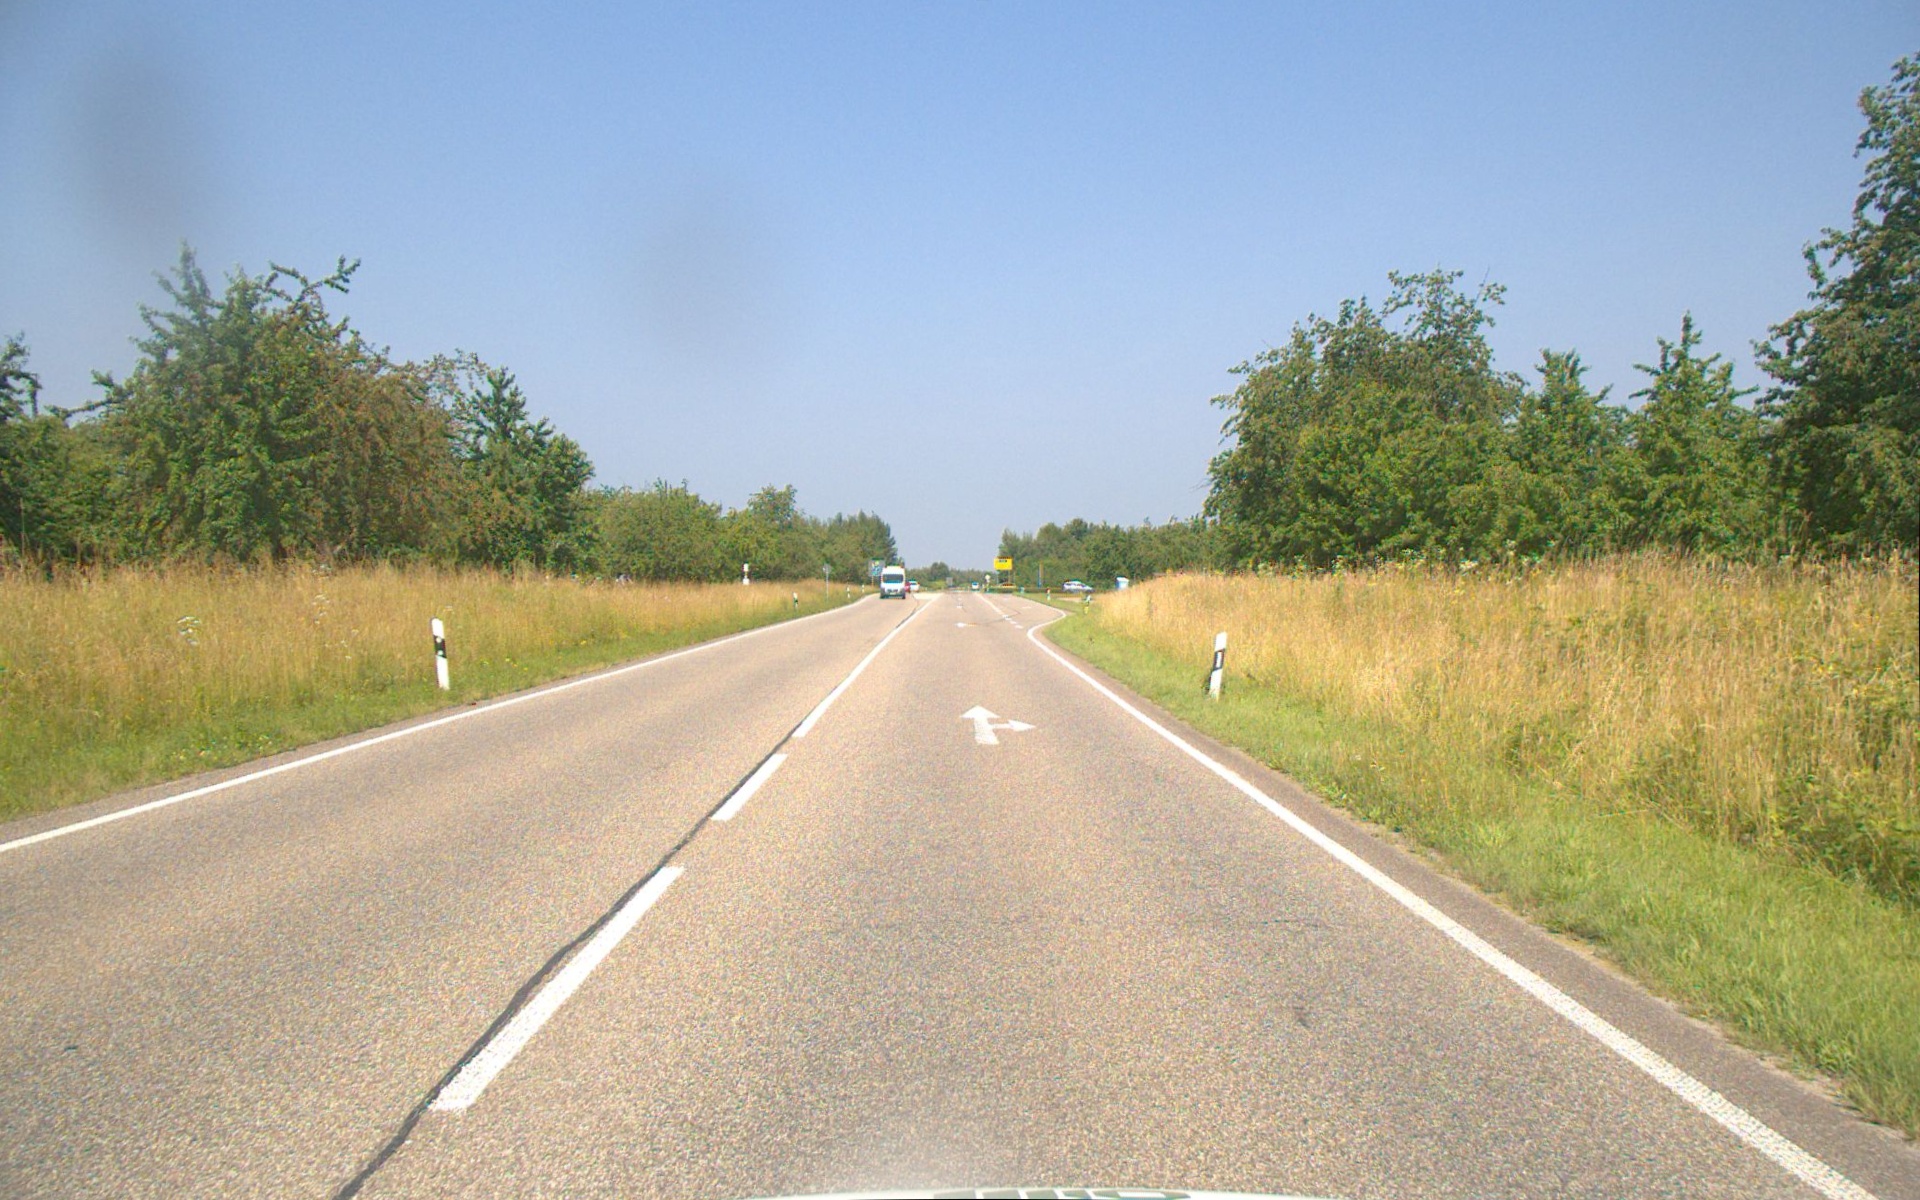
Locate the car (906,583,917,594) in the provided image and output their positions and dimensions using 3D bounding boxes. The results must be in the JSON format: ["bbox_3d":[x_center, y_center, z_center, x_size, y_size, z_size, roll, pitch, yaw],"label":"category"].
[{"bbox_3d":[-6.950,-1.681,236.598,1.641,1.520,4.135,1,0,-2],"label":"car"}]

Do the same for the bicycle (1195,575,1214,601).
[{"bbox_3d":[13.922,-0.674,94.308,0.734,1.443,2.221,-1,1,0],"label":"bicycle"}]

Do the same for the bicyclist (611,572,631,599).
[{"bbox_3d":[-18.291,-0.761,89.153,0.846,1.439,0.641,0,-1,35],"label":"bicyclist"}]

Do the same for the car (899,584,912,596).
[{"bbox_3d":[-6.813,-1.298,205.756,1.592,1.482,3.620,1,0,-2],"label":"car"}]

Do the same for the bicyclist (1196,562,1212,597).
[{"bbox_3d":[13.905,-1.154,94.316,0.734,1.963,0.827,-1,0,0],"label":"bicyclist"}]

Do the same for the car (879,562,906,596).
[{"bbox_3d":[-5.527,-1.681,136.088,2.117,2.715,6.141,1,0,-1],"label":"car"}]

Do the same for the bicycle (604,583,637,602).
[{"bbox_3d":[-18.309,-0.408,89.154,1.916,1.006,0.648,0,-1,36],"label":"bicycle"}]
